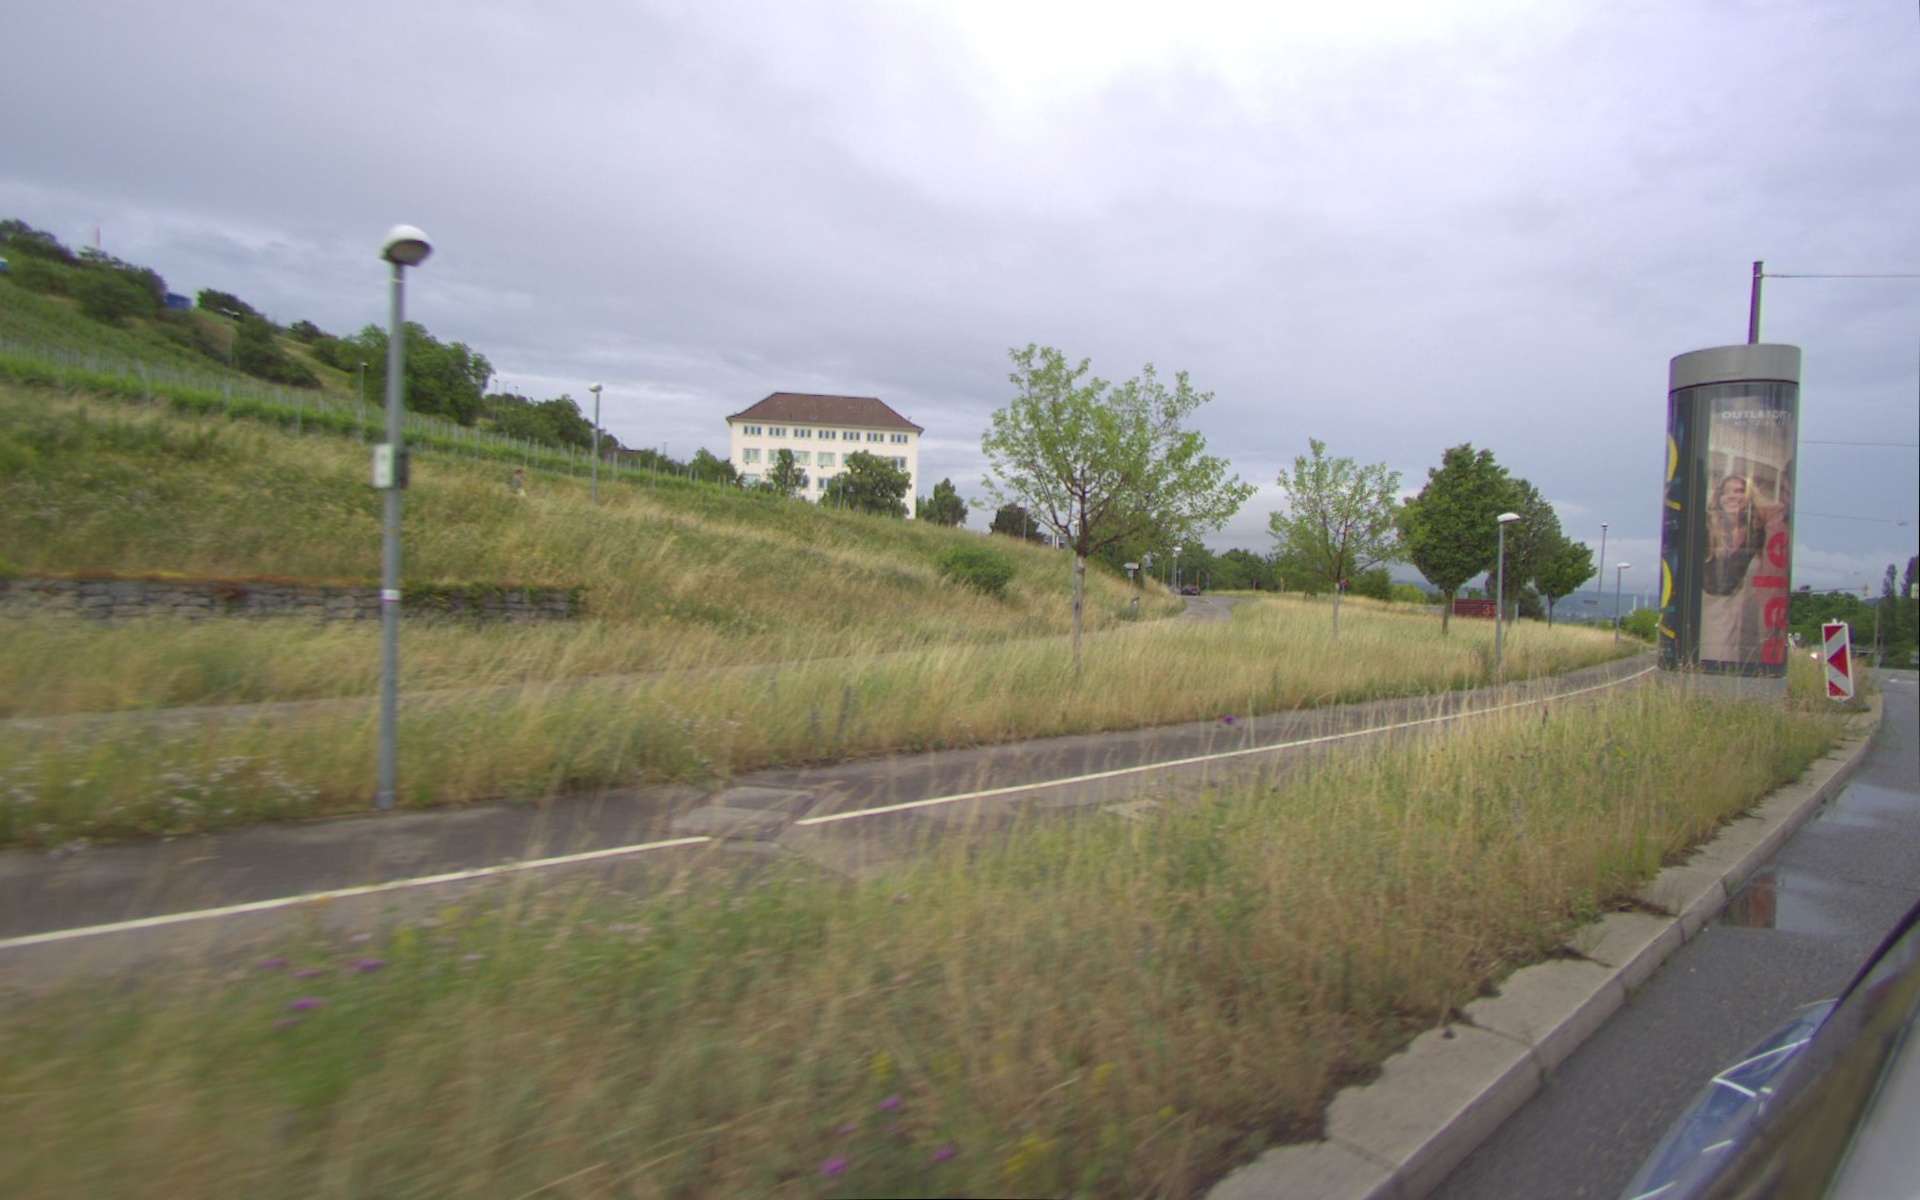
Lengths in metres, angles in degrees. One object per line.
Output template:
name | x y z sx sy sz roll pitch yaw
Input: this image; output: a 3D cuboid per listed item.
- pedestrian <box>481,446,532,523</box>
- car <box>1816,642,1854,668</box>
pedestrian | -12.843 -3.258 28.694 0.767 2.039 1.053 4 0 6
car | 58.652 3.679 67.811 1.721 1.541 4.160 3 -1 43
